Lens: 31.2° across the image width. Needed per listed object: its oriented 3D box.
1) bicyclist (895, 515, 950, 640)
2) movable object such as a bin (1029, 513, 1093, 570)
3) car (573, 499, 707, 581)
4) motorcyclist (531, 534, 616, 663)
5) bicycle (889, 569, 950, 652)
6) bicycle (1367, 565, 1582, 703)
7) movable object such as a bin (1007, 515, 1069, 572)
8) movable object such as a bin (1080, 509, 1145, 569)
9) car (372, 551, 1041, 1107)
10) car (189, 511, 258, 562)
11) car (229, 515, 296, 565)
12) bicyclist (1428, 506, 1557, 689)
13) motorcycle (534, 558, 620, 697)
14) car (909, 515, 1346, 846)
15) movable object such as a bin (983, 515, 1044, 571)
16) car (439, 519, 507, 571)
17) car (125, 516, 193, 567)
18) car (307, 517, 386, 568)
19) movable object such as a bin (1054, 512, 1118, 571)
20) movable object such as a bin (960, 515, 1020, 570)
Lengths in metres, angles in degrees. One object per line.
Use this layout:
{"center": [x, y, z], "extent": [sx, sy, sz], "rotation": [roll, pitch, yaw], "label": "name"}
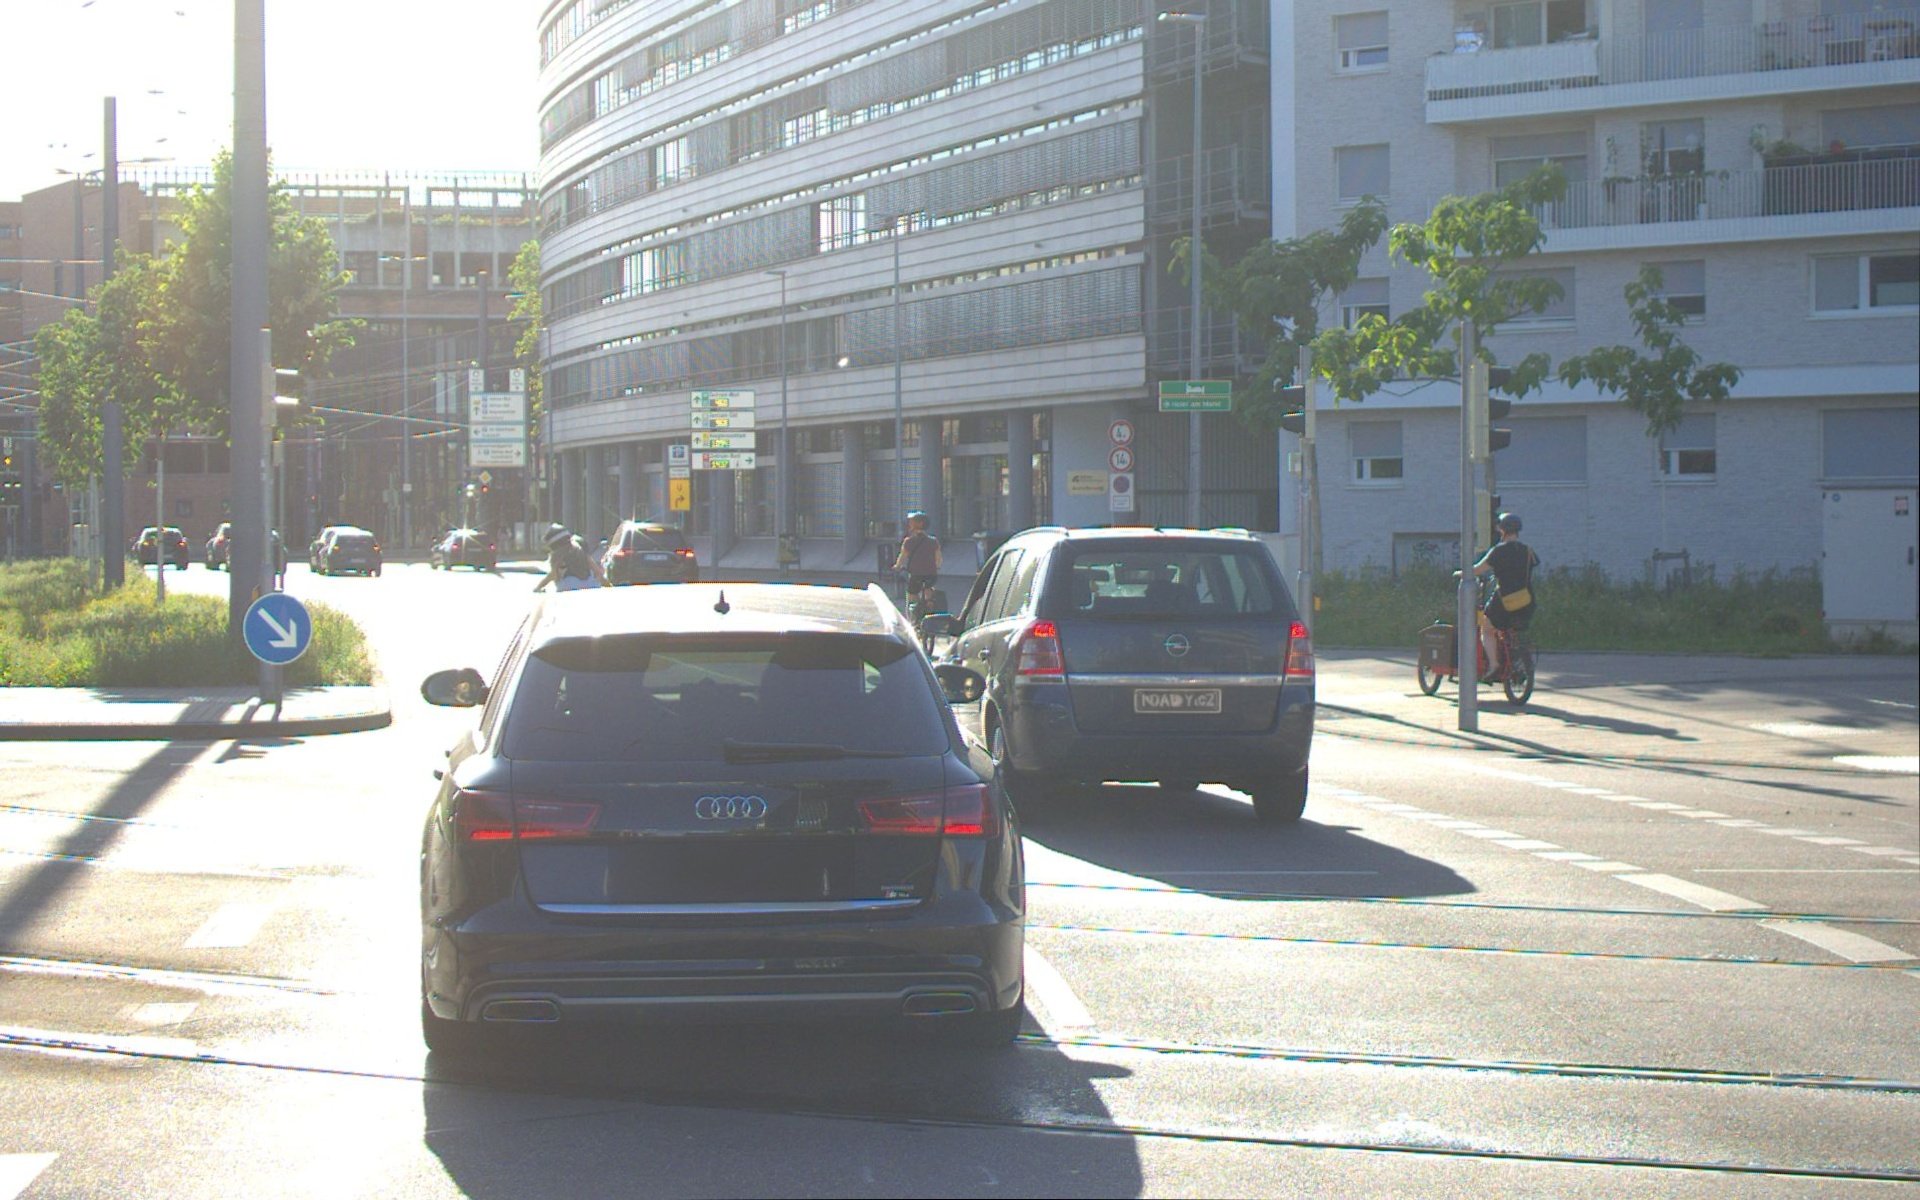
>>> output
{"center": [-0.493, -0.310, 45.776], "extent": [0.654, 1.637, 0.972], "rotation": [0, 2, 4], "label": "bicyclist"}
{"center": [2.368, -1.374, 80.742], "extent": [1.059, 1.327, 1.125], "rotation": [-1, 1, -27], "label": "movable object such as a bin"}
{"center": [-7.220, -1.368, 77.211], "extent": [2.002, 1.709, 4.374], "rotation": [1, 2, -19], "label": "car"}
{"center": [-4.008, -0.018, 35.646], "extent": [0.862, 1.322, 0.681], "rotation": [0, 1, -6], "label": "motorcyclist"}
{"center": [-0.531, 0.126, 45.790], "extent": [0.654, 1.039, 1.929], "rotation": [0, 2, 4], "label": "bicycle"}
{"center": [4.881, 0.303, 32.729], "extent": [0.766, 1.258, 2.081], "rotation": [-1, 1, -37], "label": "bicycle"}
{"center": [1.856, -1.352, 81.774], "extent": [1.059, 1.327, 1.125], "rotation": [-1, 1, -27], "label": "movable object such as a bin"}
{"center": [3.478, -1.391, 78.508], "extent": [1.059, 1.327, 1.125], "rotation": [-1, 1, -27], "label": "movable object such as a bin"}
{"center": [-0.704, 0.614, 11.633], "extent": [1.842, 1.449, 4.000], "rotation": [1, 2, 0], "label": "car"}
{"center": [-25.774, -2.198, 120.229], "extent": [1.993, 1.700, 4.001], "rotation": [-1, 1, -17], "label": "car"}
{"center": [-23.244, -1.977, 114.486], "extent": [1.993, 1.590, 4.001], "rotation": [-1, 1, -14], "label": "car"}
{"center": [5.036, -0.038, 32.524], "extent": [0.766, 1.700, 0.930], "rotation": [-1, 1, -37], "label": "bicyclist"}
{"center": [-3.975, 0.264, 35.690], "extent": [0.862, 1.388, 1.894], "rotation": [0, 1, -6], "label": "motorcycle"}
{"center": [0.858, 0.380, 20.216], "extent": [1.745, 1.690, 4.262], "rotation": [2, 1, -8], "label": "car"}
{"center": [1.285, -1.373, 82.847], "extent": [1.059, 1.327, 1.125], "rotation": [-1, 1, -27], "label": "movable object such as a bin"}
{"center": [-17.631, -1.976, 124.351], "extent": [1.993, 1.831, 4.001], "rotation": [-1, 1, -14], "label": "car"}
{"center": [-27.924, -2.015, 119.783], "extent": [1.993, 1.700, 4.001], "rotation": [-1, 1, -17], "label": "car"}
{"center": [-19.991, -1.853, 111.967], "extent": [1.993, 1.590, 4.001], "rotation": [-1, 1, -17], "label": "car"}
{"center": [2.916, -1.353, 79.640], "extent": [1.059, 1.327, 1.125], "rotation": [-1, 1, -27], "label": "movable object such as a bin"}
{"center": [0.724, -1.399, 83.945], "extent": [1.059, 1.327, 1.125], "rotation": [-1, 1, -27], "label": "movable object such as a bin"}
